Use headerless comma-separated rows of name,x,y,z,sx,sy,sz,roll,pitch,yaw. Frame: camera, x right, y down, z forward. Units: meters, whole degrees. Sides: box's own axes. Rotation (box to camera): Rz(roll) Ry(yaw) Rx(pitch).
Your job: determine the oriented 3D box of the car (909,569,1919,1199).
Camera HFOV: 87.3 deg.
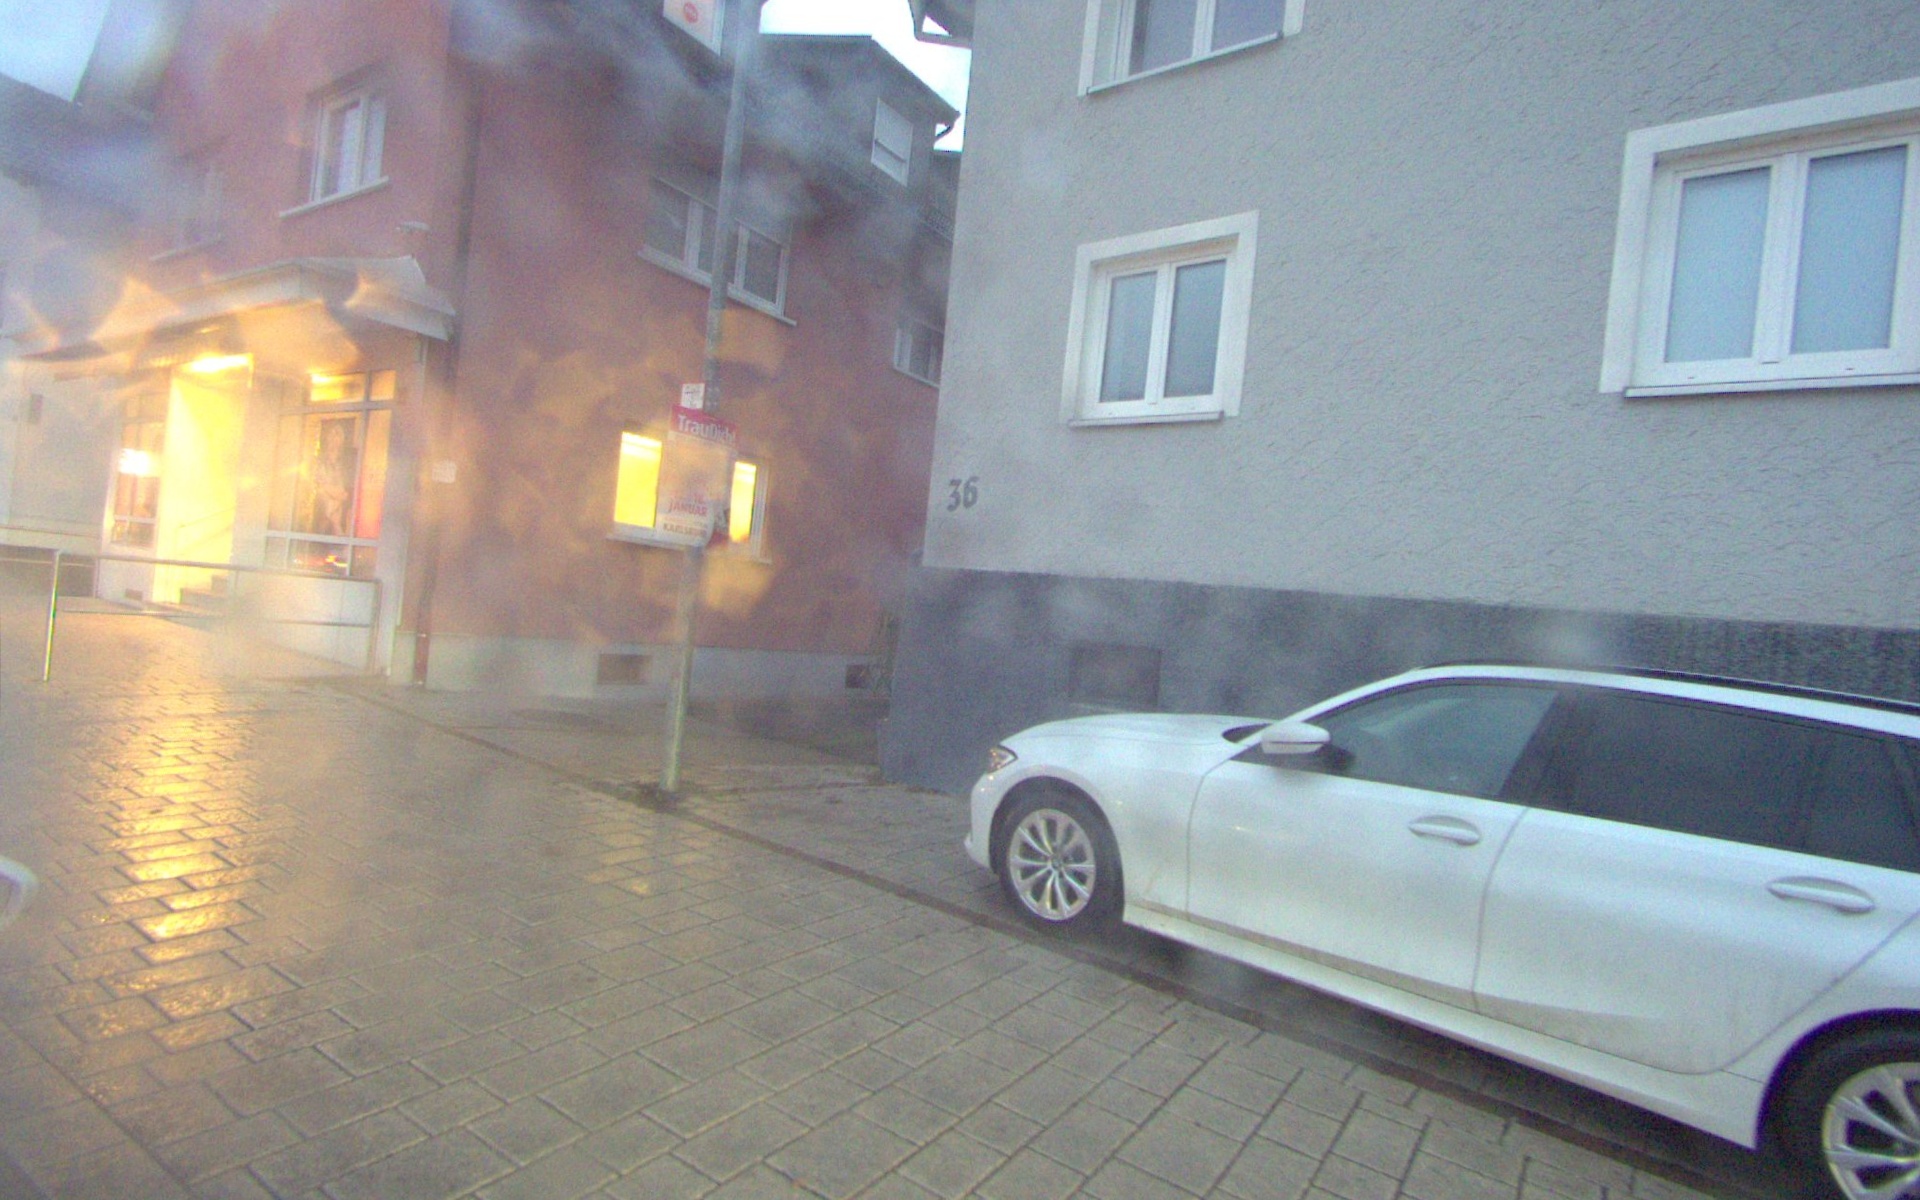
car,2.108,0.862,4.002,4.478,1.485,1.880,7,1,41
